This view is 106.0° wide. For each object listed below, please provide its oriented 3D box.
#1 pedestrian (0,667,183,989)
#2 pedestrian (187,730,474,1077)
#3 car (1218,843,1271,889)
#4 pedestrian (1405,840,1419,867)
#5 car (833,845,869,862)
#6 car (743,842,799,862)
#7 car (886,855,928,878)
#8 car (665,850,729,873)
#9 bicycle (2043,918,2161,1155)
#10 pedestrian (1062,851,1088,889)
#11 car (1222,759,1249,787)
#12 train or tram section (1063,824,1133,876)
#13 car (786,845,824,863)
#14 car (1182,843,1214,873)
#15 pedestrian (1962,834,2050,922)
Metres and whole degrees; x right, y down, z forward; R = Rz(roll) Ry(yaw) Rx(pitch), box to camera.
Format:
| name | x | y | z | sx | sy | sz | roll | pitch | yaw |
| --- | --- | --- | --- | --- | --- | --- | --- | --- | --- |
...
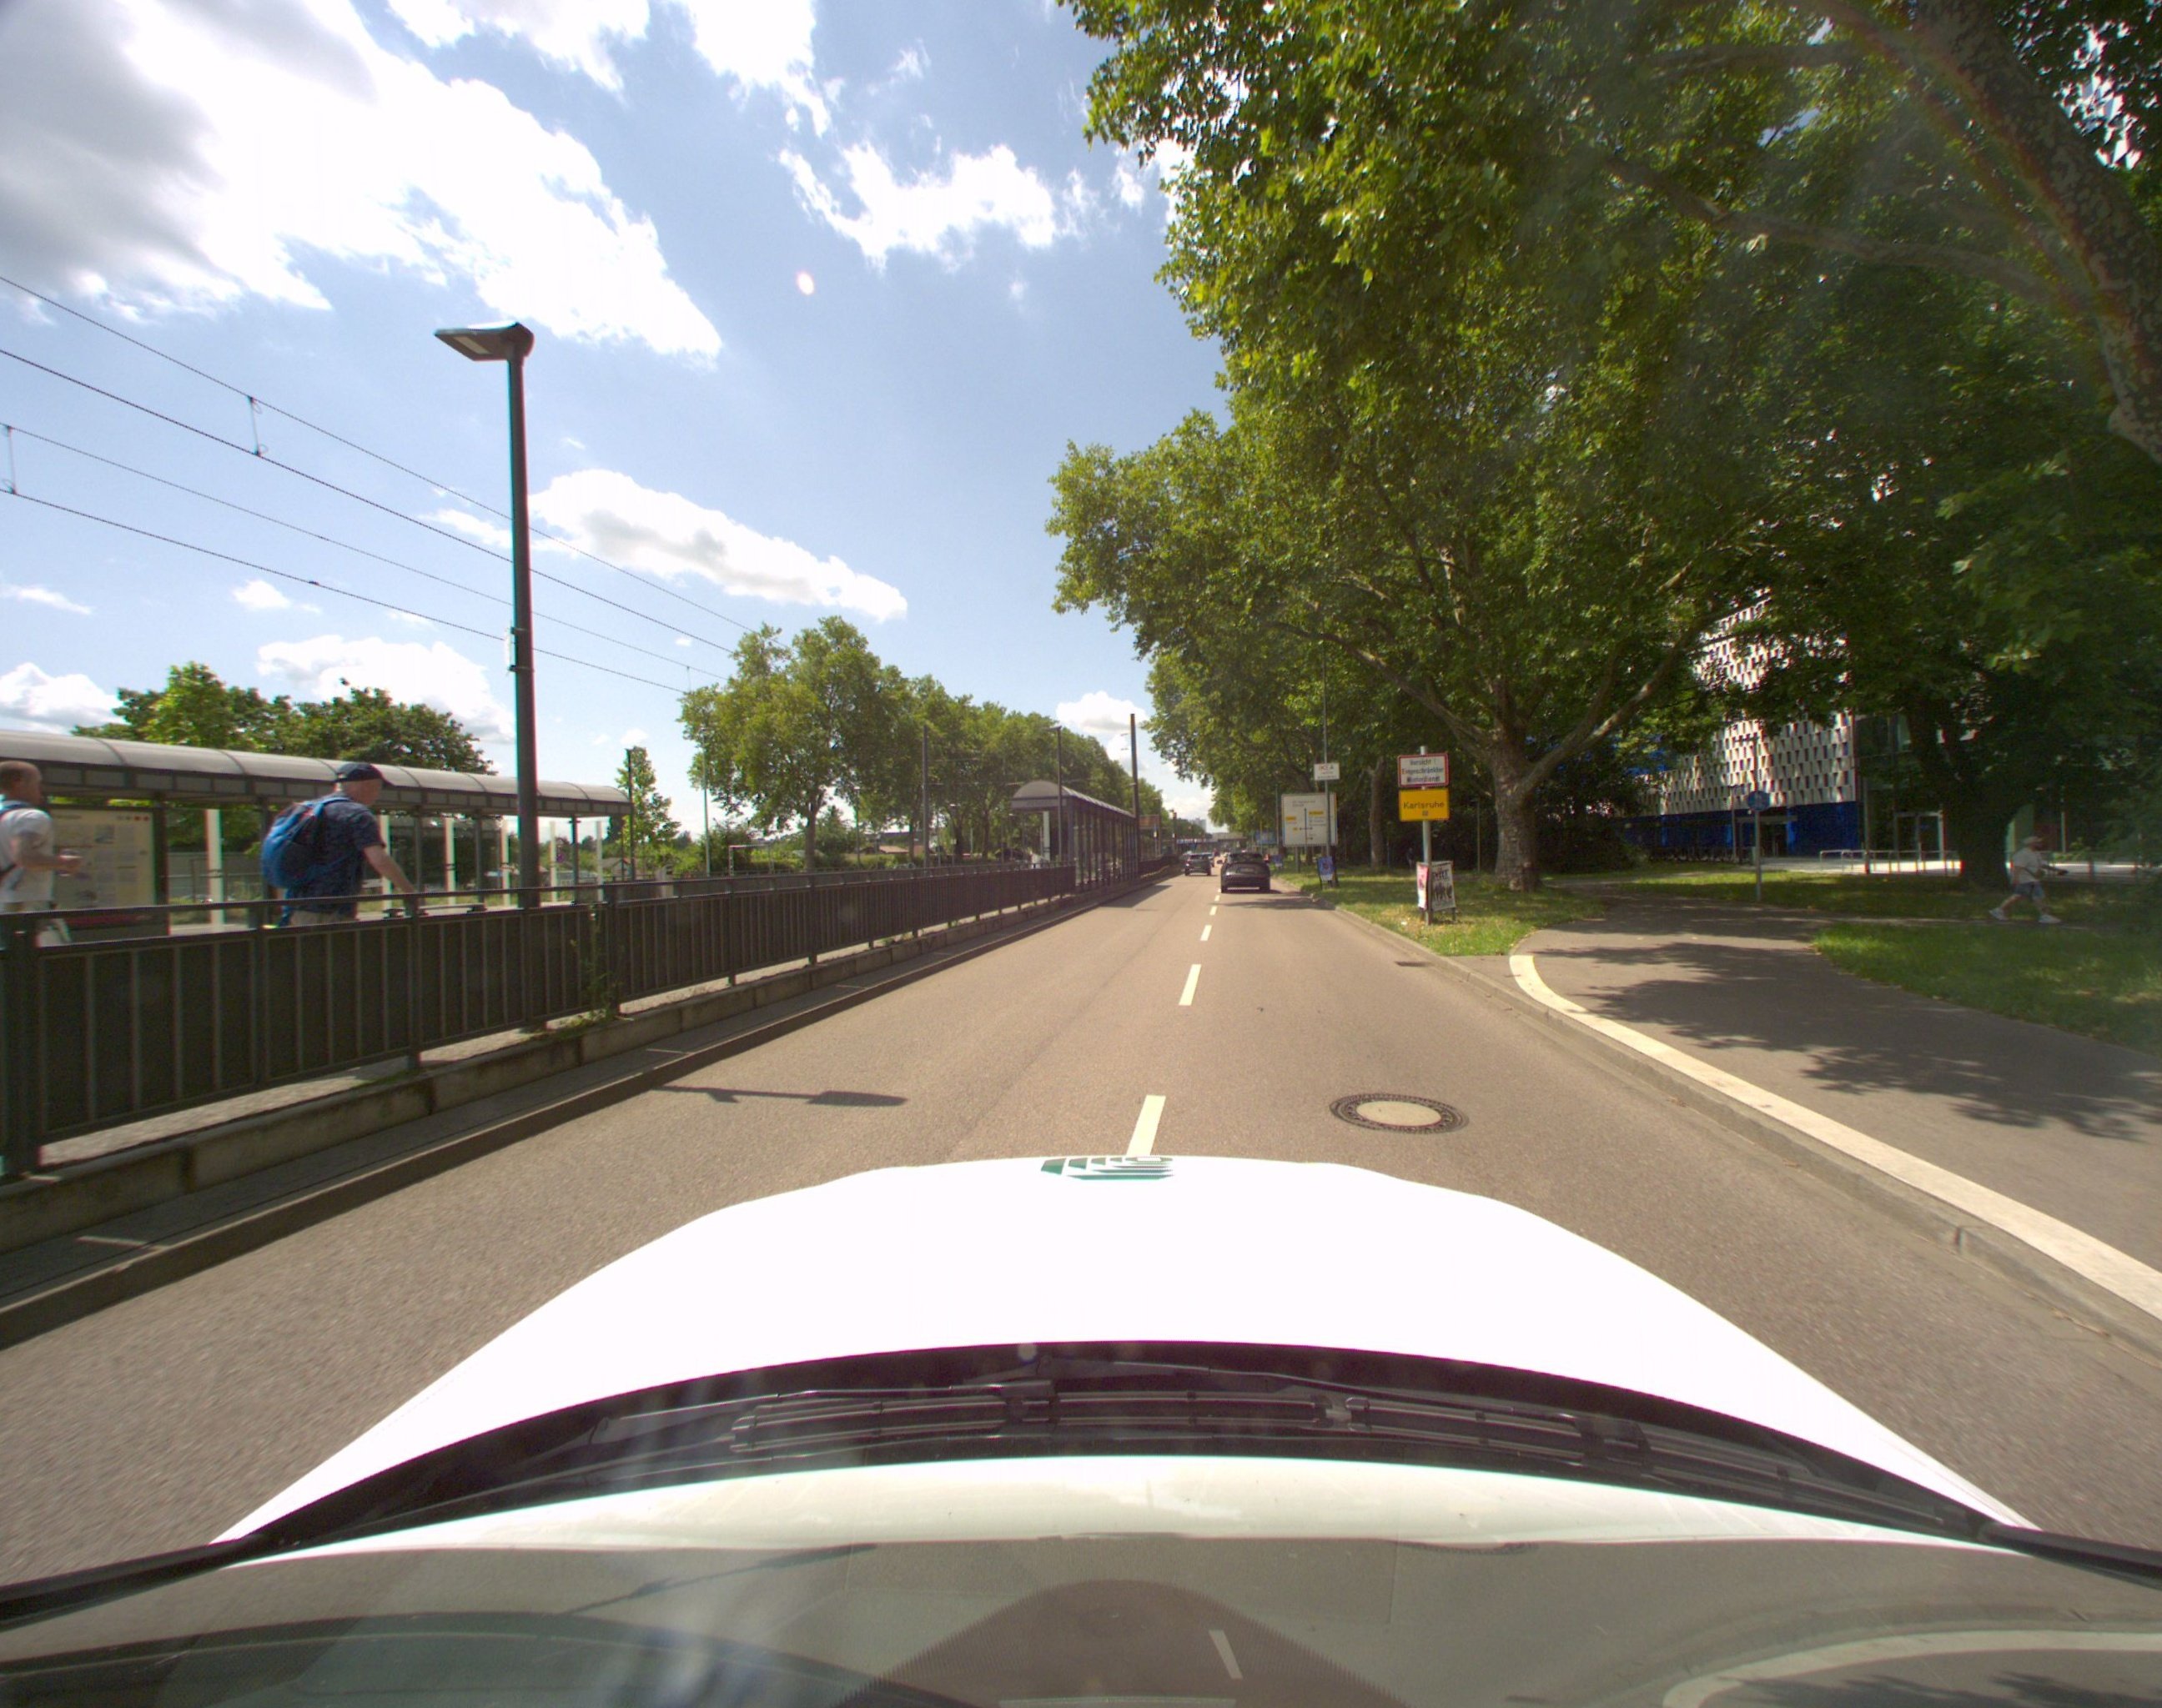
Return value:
| name | x | y | z | sx | sy | sz | roll | pitch | yaw |
| --- | --- | --- | --- | --- | --- | --- | --- | --- | --- |
| pedestrian | -6.356 | -0.148 | 4.959 | 0.729 | 1.807 | 0.933 | -1 | 0 | 11 |
| pedestrian | -4.210 | 0.250 | 4.645 | 0.729 | 1.755 | 0.933 | -1 | 0 | 11 |
| car | 6.457 | 0.500 | 32.485 | 1.886 | 1.675 | 4.531 | -1 | -1 | 9 |
| pedestrian | 25.237 | -0.045 | 62.103 | 0.831 | 2.013 | 0.959 | 1 | 0 | 9 |
| car | -23.273 | -0.093 | 82.512 | 1.892 | 1.661 | 3.939 | -1 | 1 | 9 |
| car | -25.964 | -0.176 | 68.285 | 3.889 | 1.661 | 1.916 | -1 | 1 | 12 |
| car | -13.312 | 0.960 | 62.489 | 1.698 | 1.585 | 4.012 | -1 | 1 | 10 |
| car | -28.654 | 0.565 | 60.808 | 3.888 | 1.661 | 1.917 | -1 | 1 | 12 |
| bicycle | 4.913 | 0.803 | 3.012 | 0.616 | 0.999 | 2.030 | 0 | -1 | 12 |
| pedestrian | -0.188 | 0.498 | 25.581 | 0.689 | 1.190 | 0.644 | 0 | 0 | 11 |
| car | 11.552 | -6.033 | 61.062 | 1.821 | 1.630 | 4.307 | -1 | 0 | 9 |
| train or tram section | 1.478 | -0.254 | 58.393 | 3.019 | 3.186 | 14.136 | -1 | 0 | 9 |
| car | -27.818 | -0.013 | 82.202 | 1.892 | 1.661 | 3.939 | -1 | 1 | 9 |
| car | 8.289 | 0.339 | 57.525 | 1.981 | 1.989 | 4.376 | -1 | -1 | 11 |
| pedestrian | 18.498 | 0.466 | 16.317 | 0.770 | 1.695 | 0.894 | -1 | 0 | 11 |
